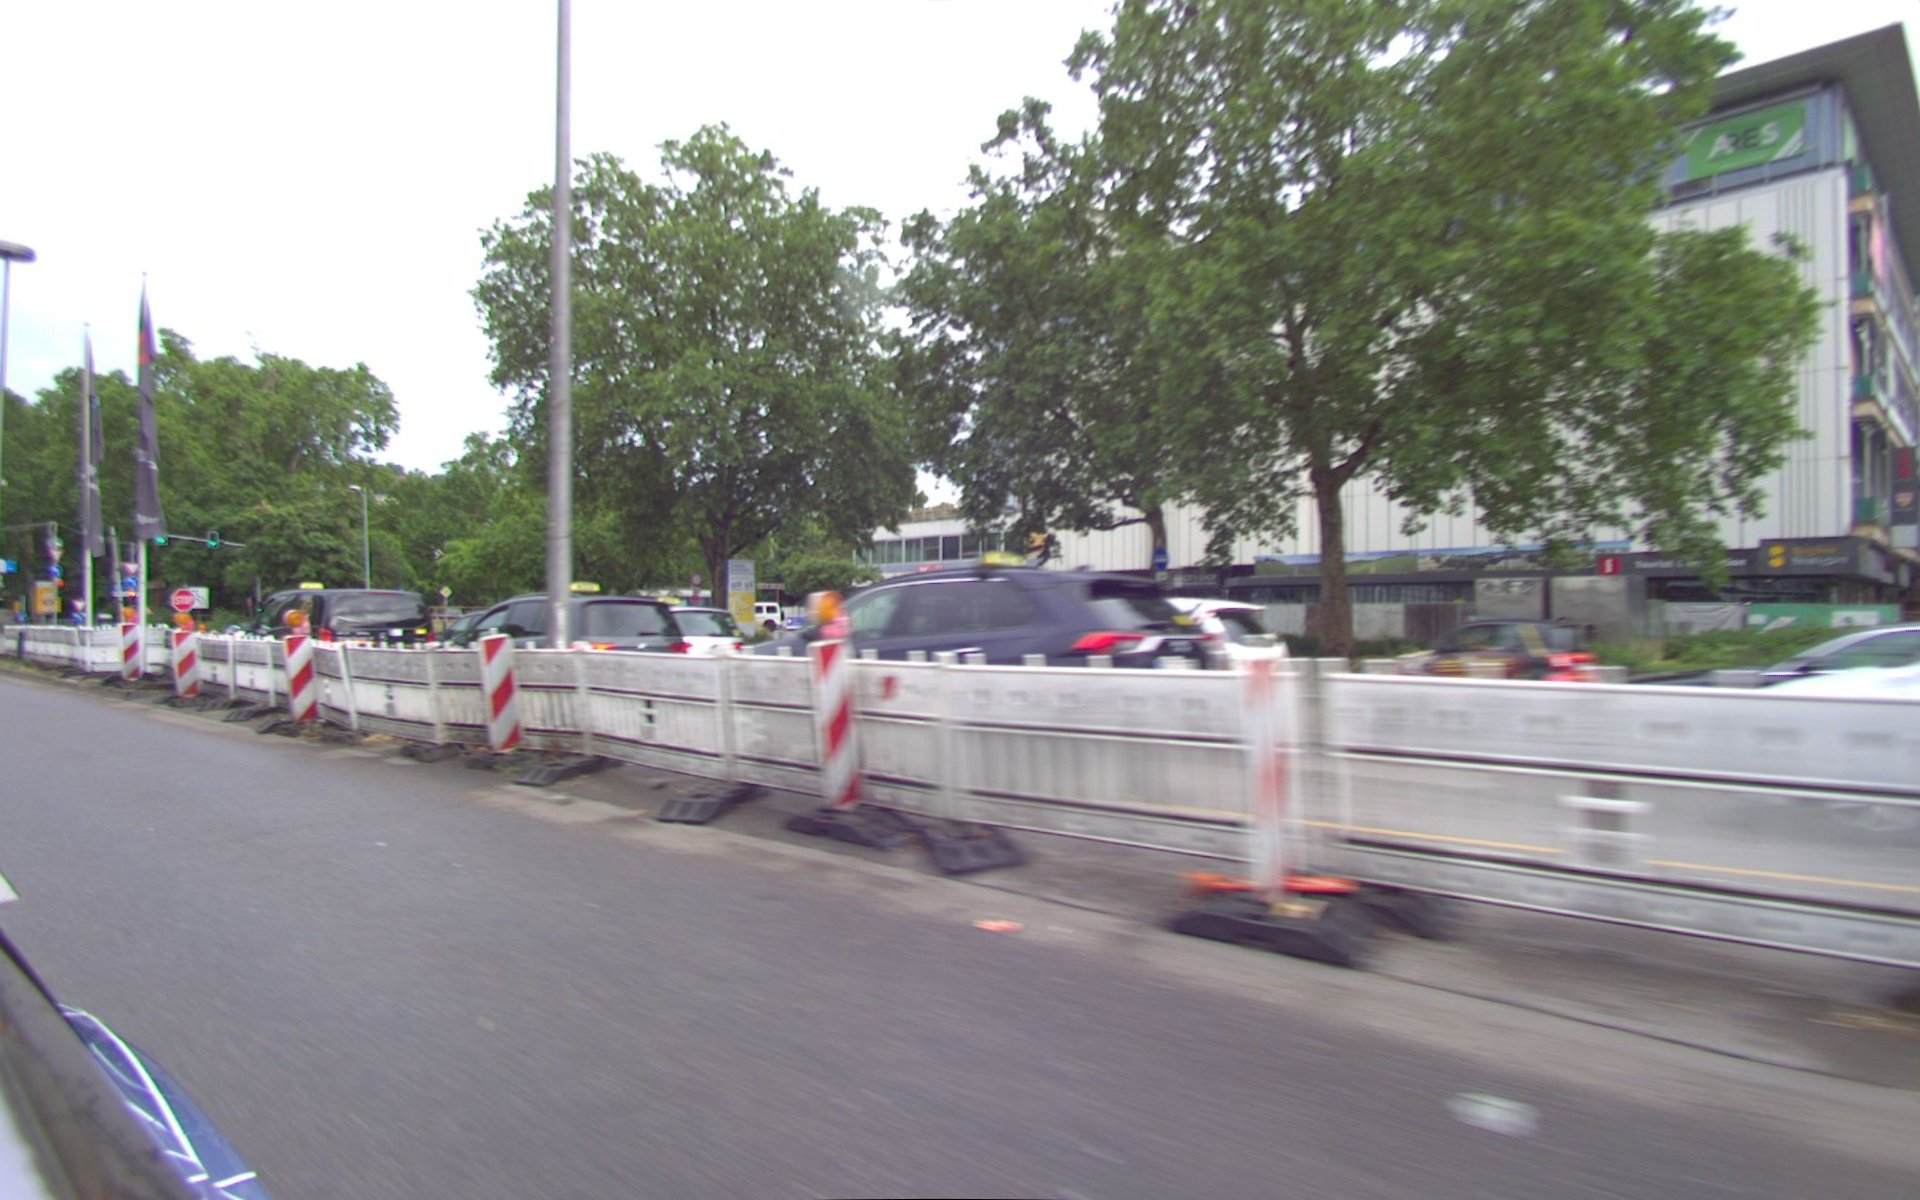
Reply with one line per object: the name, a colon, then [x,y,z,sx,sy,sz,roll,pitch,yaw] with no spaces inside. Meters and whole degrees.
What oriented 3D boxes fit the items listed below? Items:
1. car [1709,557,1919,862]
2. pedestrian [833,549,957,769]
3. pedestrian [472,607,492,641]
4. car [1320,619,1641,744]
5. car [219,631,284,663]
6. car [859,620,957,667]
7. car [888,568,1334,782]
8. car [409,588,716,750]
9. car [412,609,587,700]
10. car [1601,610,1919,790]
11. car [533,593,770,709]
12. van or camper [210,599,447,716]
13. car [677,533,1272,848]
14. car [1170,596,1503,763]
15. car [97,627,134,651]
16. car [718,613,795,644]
car: [7.014,0.591,5.519,4.483,1.735,1.764,-3,-3,44]
pedestrian: [-0.639,0.552,9.950,0.821,2.029,0.867,-2,-1,40]
pedestrian: [-25.462,1.266,53.868,0.950,1.738,0.551,-6,-3,39]
car: [8.010,1.152,15.840,1.969,1.630,4.005,-1,0,-42]
car: [-39.202,2.600,55.945,4.819,1.644,1.972,-3,-1,44]
car: [-2.106,1.705,40.350,3.686,1.554,1.856,-3,2,-7]
car: [1.461,0.745,11.098,4.565,1.865,1.894,-2,-3,43]
car: [-5.453,0.861,13.523,4.811,1.784,1.971,-3,-3,43]
car: [-9.734,1.112,21.246,4.301,1.715,1.869,-3,-2,43]
car: [8.455,0.852,9.395,3.996,1.453,1.974,-2,0,40]
car: [-5.394,0.838,17.395,4.421,1.715,1.870,-3,-1,42]
van or camper: [-11.537,1.005,18.316,5.385,1.833,1.926,-2,-4,39]
car: [-0.170,0.629,8.292,4.811,1.831,1.971,-3,-3,44]
car: [5.303,1.042,14.520,3.997,2.029,1.973,-3,-1,41]
car: [-57.108,2.673,68.445,1.658,1.554,3.176,2,-4,-44]
car: [-14.010,1.945,69.760,4.780,2.029,2.030,-2,-1,10]
